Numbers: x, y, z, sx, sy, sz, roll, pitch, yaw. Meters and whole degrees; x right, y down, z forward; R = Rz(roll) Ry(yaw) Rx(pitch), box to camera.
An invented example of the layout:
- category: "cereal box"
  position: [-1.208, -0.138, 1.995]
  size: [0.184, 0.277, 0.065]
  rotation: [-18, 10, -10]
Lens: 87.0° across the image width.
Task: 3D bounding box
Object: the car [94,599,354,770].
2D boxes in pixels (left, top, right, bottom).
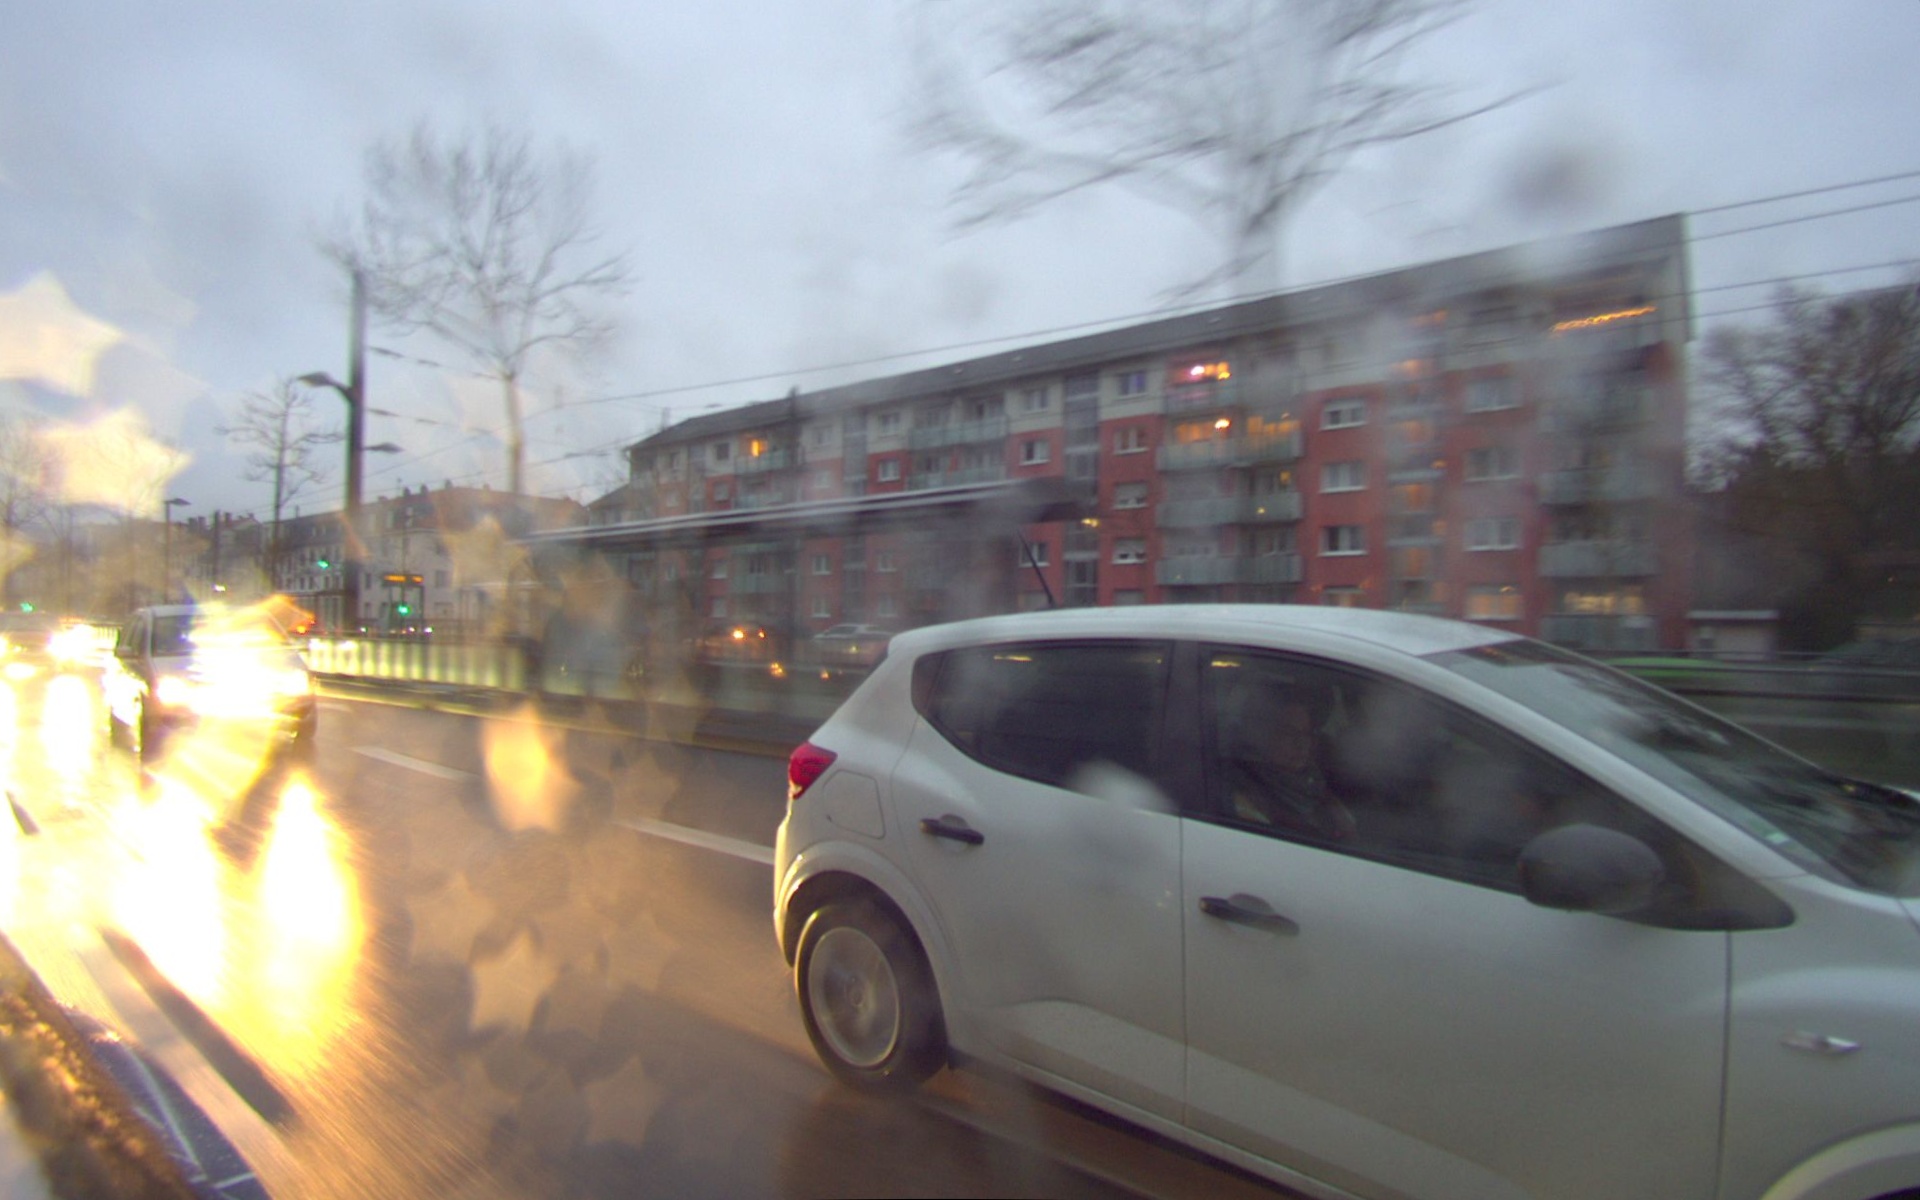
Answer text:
- category: "car"
  position: [-8.979, 0.842, 12.219]
  size: [1.992, 1.690, 4.003]
  rotation: [0, 0, -44]

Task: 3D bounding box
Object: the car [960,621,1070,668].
- category: "car"
  position: [2.127, 1.688, 39.844]
  size: [4.149, 1.658, 1.706]
  rotation: [0, 0, 42]

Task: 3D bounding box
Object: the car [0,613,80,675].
- category: "car"
  position: [-24.949, 1.129, 26.644]
  size: [4.086, 1.513, 1.951]
  rotation: [-1, -1, 38]

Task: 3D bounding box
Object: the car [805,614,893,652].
- category: "car"
  position: [-5.043, 1.448, 45.668]
  size: [4.151, 1.555, 1.706]
  rotation: [0, 0, 43]

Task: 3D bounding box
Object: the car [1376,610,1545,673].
- category: "car"
  position: [14.588, 1.162, 29.645]
  size: [4.149, 1.658, 1.706]
  rotation: [0, 0, 42]

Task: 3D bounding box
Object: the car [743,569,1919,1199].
- category: "car"
  position: [1.310, 0.693, 2.663]
  size: [4.000, 1.477, 1.690]
  rotation: [0, 0, 43]

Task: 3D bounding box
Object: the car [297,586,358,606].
- category: "car"
  position: [-73.816, -0.405, 118.209]
  size: [5.808, 2.271, 1.827]
  rotation: [1, 0, -18]

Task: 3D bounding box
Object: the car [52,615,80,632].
- category: "car"
  position: [-94.843, 2.488, 107.367]
  size: [3.744, 1.651, 1.508]
  rotation: [0, -1, 38]

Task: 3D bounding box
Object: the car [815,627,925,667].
- category: "car"
  position: [-3.471, 1.745, 38.569]
  size: [4.212, 1.302, 1.761]
  rotation: [0, 0, 41]
